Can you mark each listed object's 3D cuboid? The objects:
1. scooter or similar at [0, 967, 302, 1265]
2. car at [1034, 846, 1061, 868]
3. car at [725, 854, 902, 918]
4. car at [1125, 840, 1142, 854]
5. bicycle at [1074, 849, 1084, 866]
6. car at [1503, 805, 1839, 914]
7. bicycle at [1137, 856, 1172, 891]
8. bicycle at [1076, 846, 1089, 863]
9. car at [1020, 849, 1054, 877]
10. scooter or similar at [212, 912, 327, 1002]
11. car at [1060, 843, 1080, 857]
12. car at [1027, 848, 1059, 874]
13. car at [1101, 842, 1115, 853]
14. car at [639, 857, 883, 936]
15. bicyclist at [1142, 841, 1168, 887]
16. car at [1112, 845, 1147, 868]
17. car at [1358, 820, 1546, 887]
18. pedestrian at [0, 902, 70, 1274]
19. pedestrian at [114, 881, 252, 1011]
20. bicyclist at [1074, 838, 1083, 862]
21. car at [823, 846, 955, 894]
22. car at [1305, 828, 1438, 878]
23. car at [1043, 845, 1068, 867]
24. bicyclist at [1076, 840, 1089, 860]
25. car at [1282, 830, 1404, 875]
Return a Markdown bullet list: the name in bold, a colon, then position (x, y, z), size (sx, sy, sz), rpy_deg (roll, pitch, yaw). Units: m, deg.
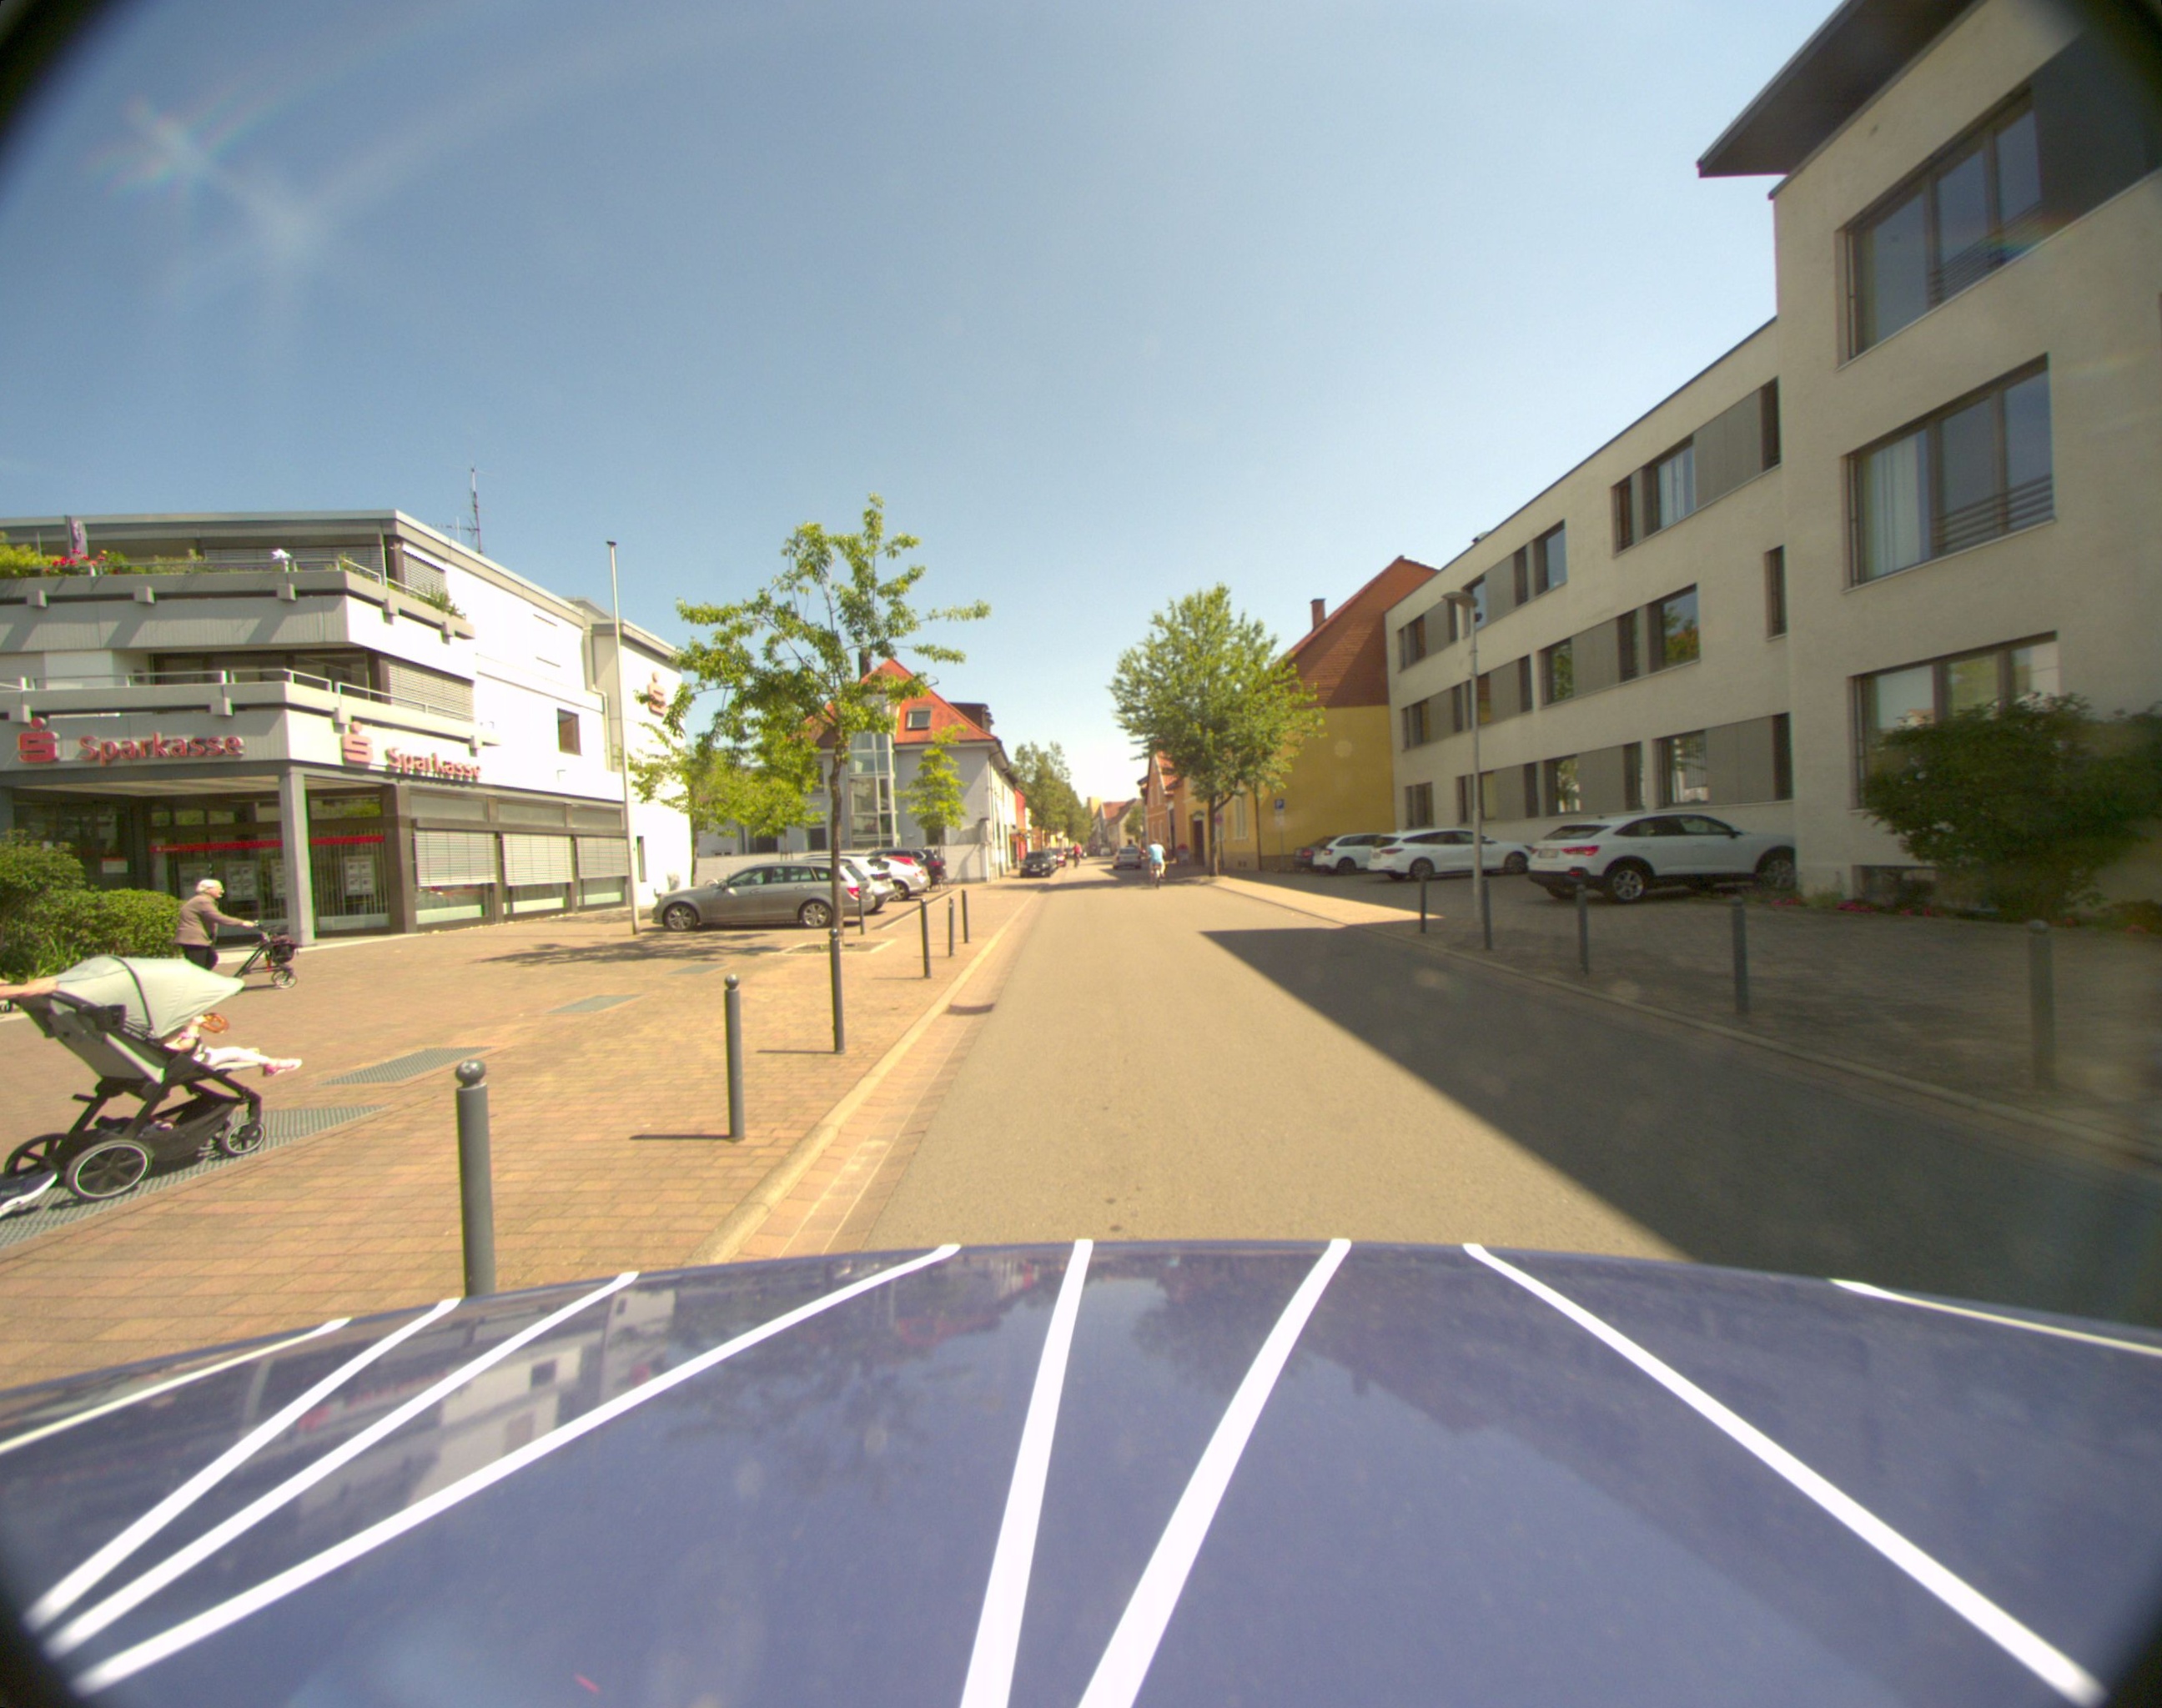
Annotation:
- **scooter or similar**: position (-4.747, 1.200, 3.752), size (0.627, 1.100, 1.044), rpy_deg (-3, 1, 4)
- **car**: position (-2.440, 0.205, 56.037), size (1.741, 1.504, 3.735), rpy_deg (-2, 0, -1)
- **car**: position (-6.861, 0.795, 19.851), size (3.998, 1.564, 1.856), rpy_deg (0, 1, -4)
- **car**: position (6.949, -0.953, 100.137), size (1.863, 1.620, 4.048), rpy_deg (-3, 1, 7)
- **bicycle**: position (-0.167, 0.274, 56.086), size (0.635, 1.227, 1.894), rpy_deg (-1, -1, 2)
- **car**: position (10.641, 0.070, 13.987), size (4.518, 1.545, 2.147), rpy_deg (-4, 1, -2)
- **bicycle**: position (2.478, 0.630, 25.362), size (0.674, 1.103, 1.898), rpy_deg (-1, 1, 21)
- **bicycle**: position (0.126, 0.019, 64.783), size (0.959, 1.363, 2.406), rpy_deg (-2, 1, 4)
- **car**: position (-2.422, 0.469, 42.638), size (1.708, 1.473, 3.920), rpy_deg (-1, 1, -1)
- **scooter or similar**: position (-10.788, 1.354, 10.125), size (0.590, 1.069, 0.806), rpy_deg (-2, 1, 13)
- **car**: position (-1.401, -0.538, 100.301), size (1.928, 1.594, 4.110), rpy_deg (-3, 1, 7)
- **car**: position (-2.374, 0.415, 48.217), size (1.721, 1.473, 4.095), rpy_deg (-2, 1, 1)
- **car**: position (5.820, -1.369, 162.880), size (2.443, 2.224, 4.958), rpy_deg (-3, 1, -3)
- **car**: position (-6.924, 0.887, 16.883), size (4.589, 1.504, 1.915), rpy_deg (-1, 1, -6)
- **bicyclist**: position (2.464, 0.334, 25.344), size (0.669, 1.518, 0.762), rpy_deg (-1, 1, 20)
- **car**: position (3.129, 0.145, 49.702), size (1.885, 1.455, 4.435), rpy_deg (-1, 1, -1)
- **car**: position (10.756, -0.042, 22.284), size (4.515, 1.545, 1.934), rpy_deg (-4, 2, 0)
- **pedestrian**: position (-4.829, 0.984, 2.925), size (0.705, 1.512, 0.801), rpy_deg (-3, 1, 5)
- **pedestrian**: position (-11.030, 1.108, 9.360), size (0.668, 1.488, 0.812), rpy_deg (-2, 1, 12)
- **bicyclist**: position (-0.175, -0.297, 56.160), size (0.645, 1.766, 0.722), rpy_deg (-1, 0, 2)
- **car**: position (-7.466, 0.610, 29.909), size (4.643, 1.761, 2.147), rpy_deg (-1, 0, -3)
- **car**: position (10.375, -0.038, 27.333), size (3.997, 1.443, 1.807), rpy_deg (-4, 0, 0)
- **car**: position (-2.133, 0.139, 62.163), size (1.834, 1.579, 4.086), rpy_deg (-4, 1, -3)
- **bicyclist**: position (0.135, -0.359, 64.848), size (1.028, 1.635, 1.025), rpy_deg (-2, 1, 3)
- **car**: position (10.259, -0.070, 29.912), size (3.998, 1.423, 1.971), rpy_deg (-4, 0, -4)
